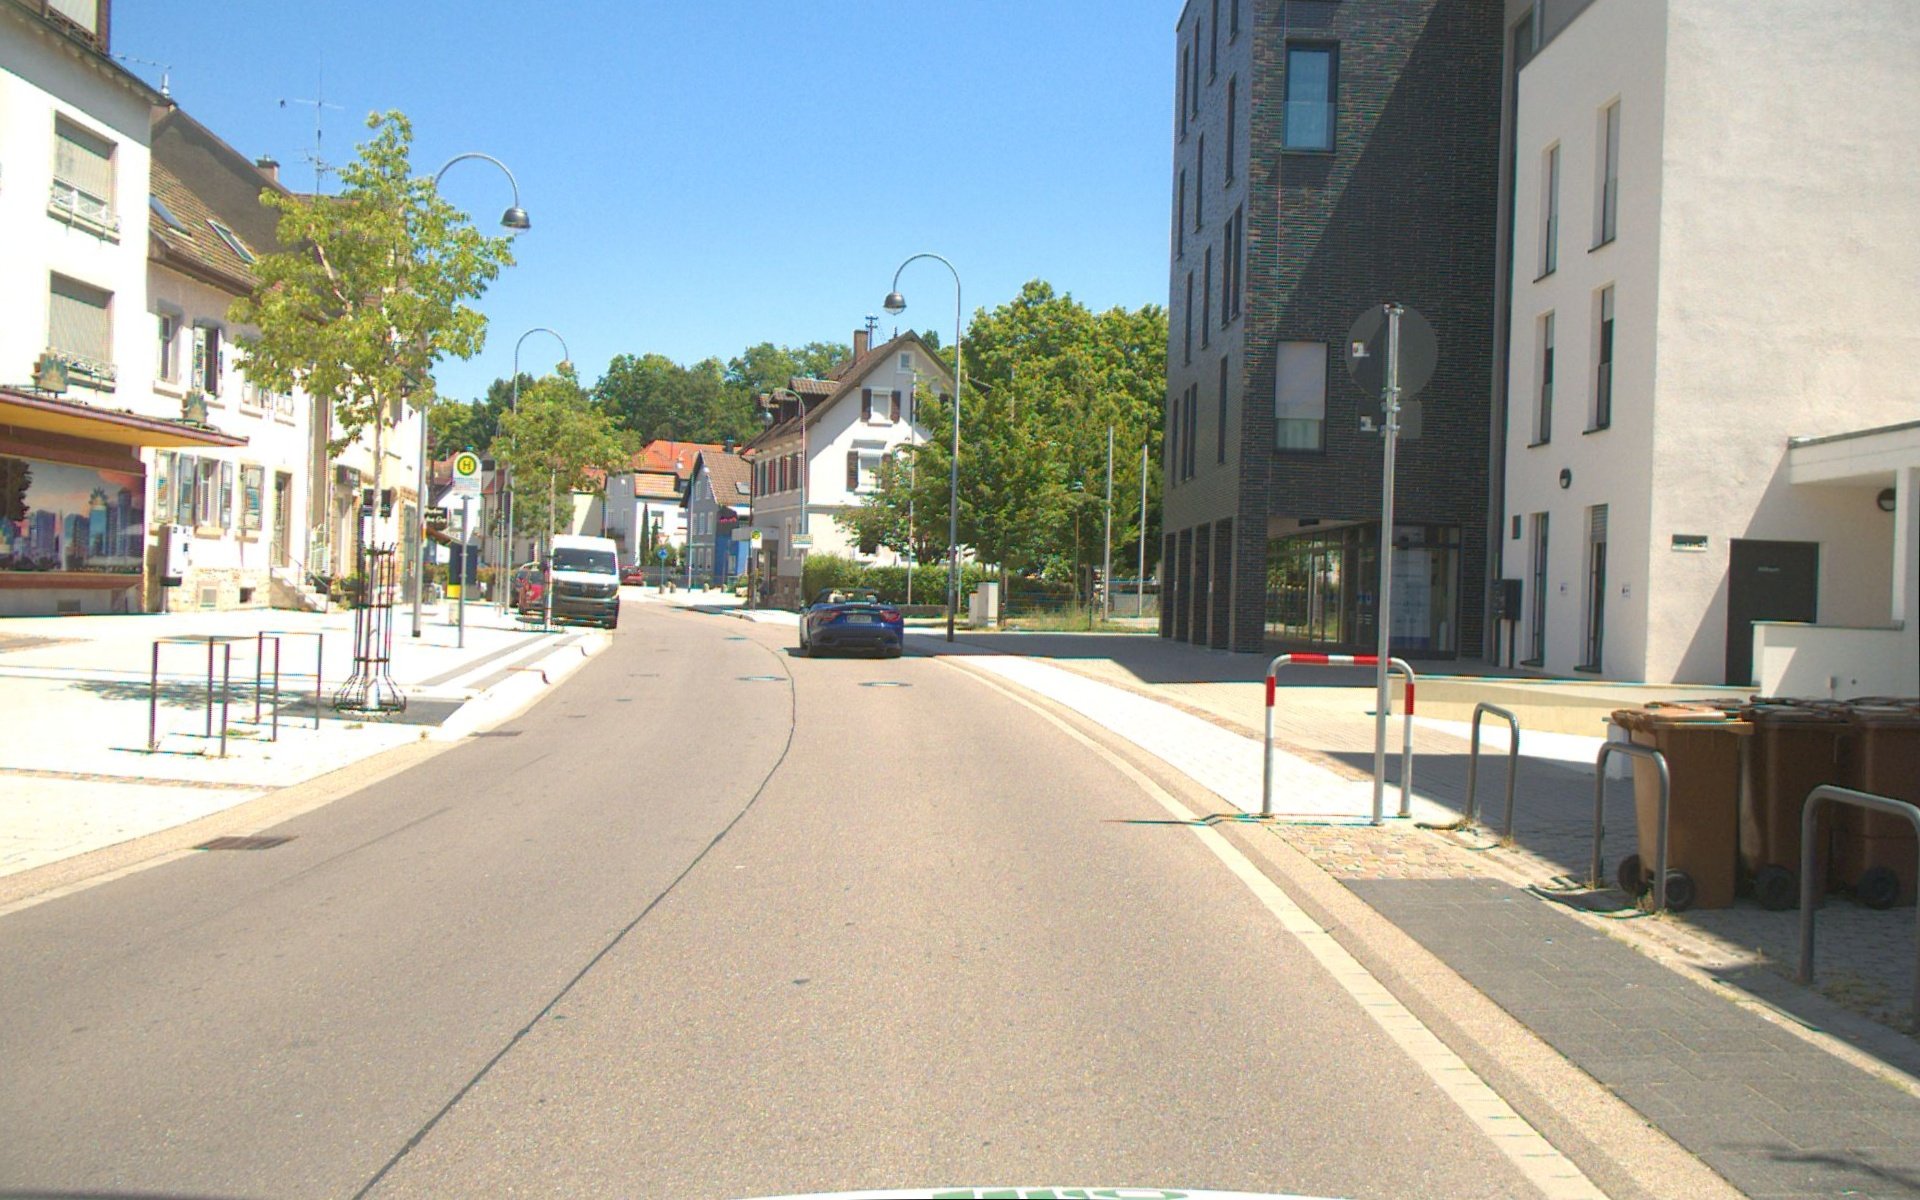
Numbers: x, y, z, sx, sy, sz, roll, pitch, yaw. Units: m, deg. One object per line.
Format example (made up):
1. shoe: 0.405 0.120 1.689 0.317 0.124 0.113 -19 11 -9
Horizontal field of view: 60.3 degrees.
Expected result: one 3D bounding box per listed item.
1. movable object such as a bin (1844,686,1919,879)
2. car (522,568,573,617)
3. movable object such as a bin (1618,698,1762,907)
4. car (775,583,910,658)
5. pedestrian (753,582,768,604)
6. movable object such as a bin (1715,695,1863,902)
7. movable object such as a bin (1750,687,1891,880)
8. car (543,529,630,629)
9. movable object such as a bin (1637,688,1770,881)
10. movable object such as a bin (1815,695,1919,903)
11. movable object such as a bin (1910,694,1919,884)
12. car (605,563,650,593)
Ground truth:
1. movable object such as a bin: 5.006 0.940 8.663 0.463 0.947 0.528 0 0 0
2. car: -13.579 -0.253 54.518 1.533 1.547 3.503 2 0 -13
3. movable object such as a bin: 3.535 0.968 8.037 0.463 0.947 0.528 0 0 0
4. car: -2.462 0.383 33.718 1.880 1.384 4.267 1 1 -16
5. pedestrian: -9.355 -0.347 77.464 0.581 1.017 0.720 0 1 -19
6. movable object such as a bin: 4.044 0.955 8.092 0.457 0.947 0.528 0 0 0
7. movable object such as a bin: 4.491 0.945 8.653 0.463 0.947 0.528 0 0 0
8. car: -10.601 -0.587 46.674 2.058 2.541 5.481 3 0 -15
9. movable object such as a bin: 3.897 0.954 8.691 0.463 0.947 0.528 0 0 0
10. movable object such as a bin: 4.534 0.953 8.071 0.455 0.947 0.522 0 0 0
11. movable object such as a bin: 5.017 0.946 8.075 0.455 0.947 0.522 0 0 0
12. car: -23.718 -1.571 117.952 1.973 2.049 3.959 2 0 -31
